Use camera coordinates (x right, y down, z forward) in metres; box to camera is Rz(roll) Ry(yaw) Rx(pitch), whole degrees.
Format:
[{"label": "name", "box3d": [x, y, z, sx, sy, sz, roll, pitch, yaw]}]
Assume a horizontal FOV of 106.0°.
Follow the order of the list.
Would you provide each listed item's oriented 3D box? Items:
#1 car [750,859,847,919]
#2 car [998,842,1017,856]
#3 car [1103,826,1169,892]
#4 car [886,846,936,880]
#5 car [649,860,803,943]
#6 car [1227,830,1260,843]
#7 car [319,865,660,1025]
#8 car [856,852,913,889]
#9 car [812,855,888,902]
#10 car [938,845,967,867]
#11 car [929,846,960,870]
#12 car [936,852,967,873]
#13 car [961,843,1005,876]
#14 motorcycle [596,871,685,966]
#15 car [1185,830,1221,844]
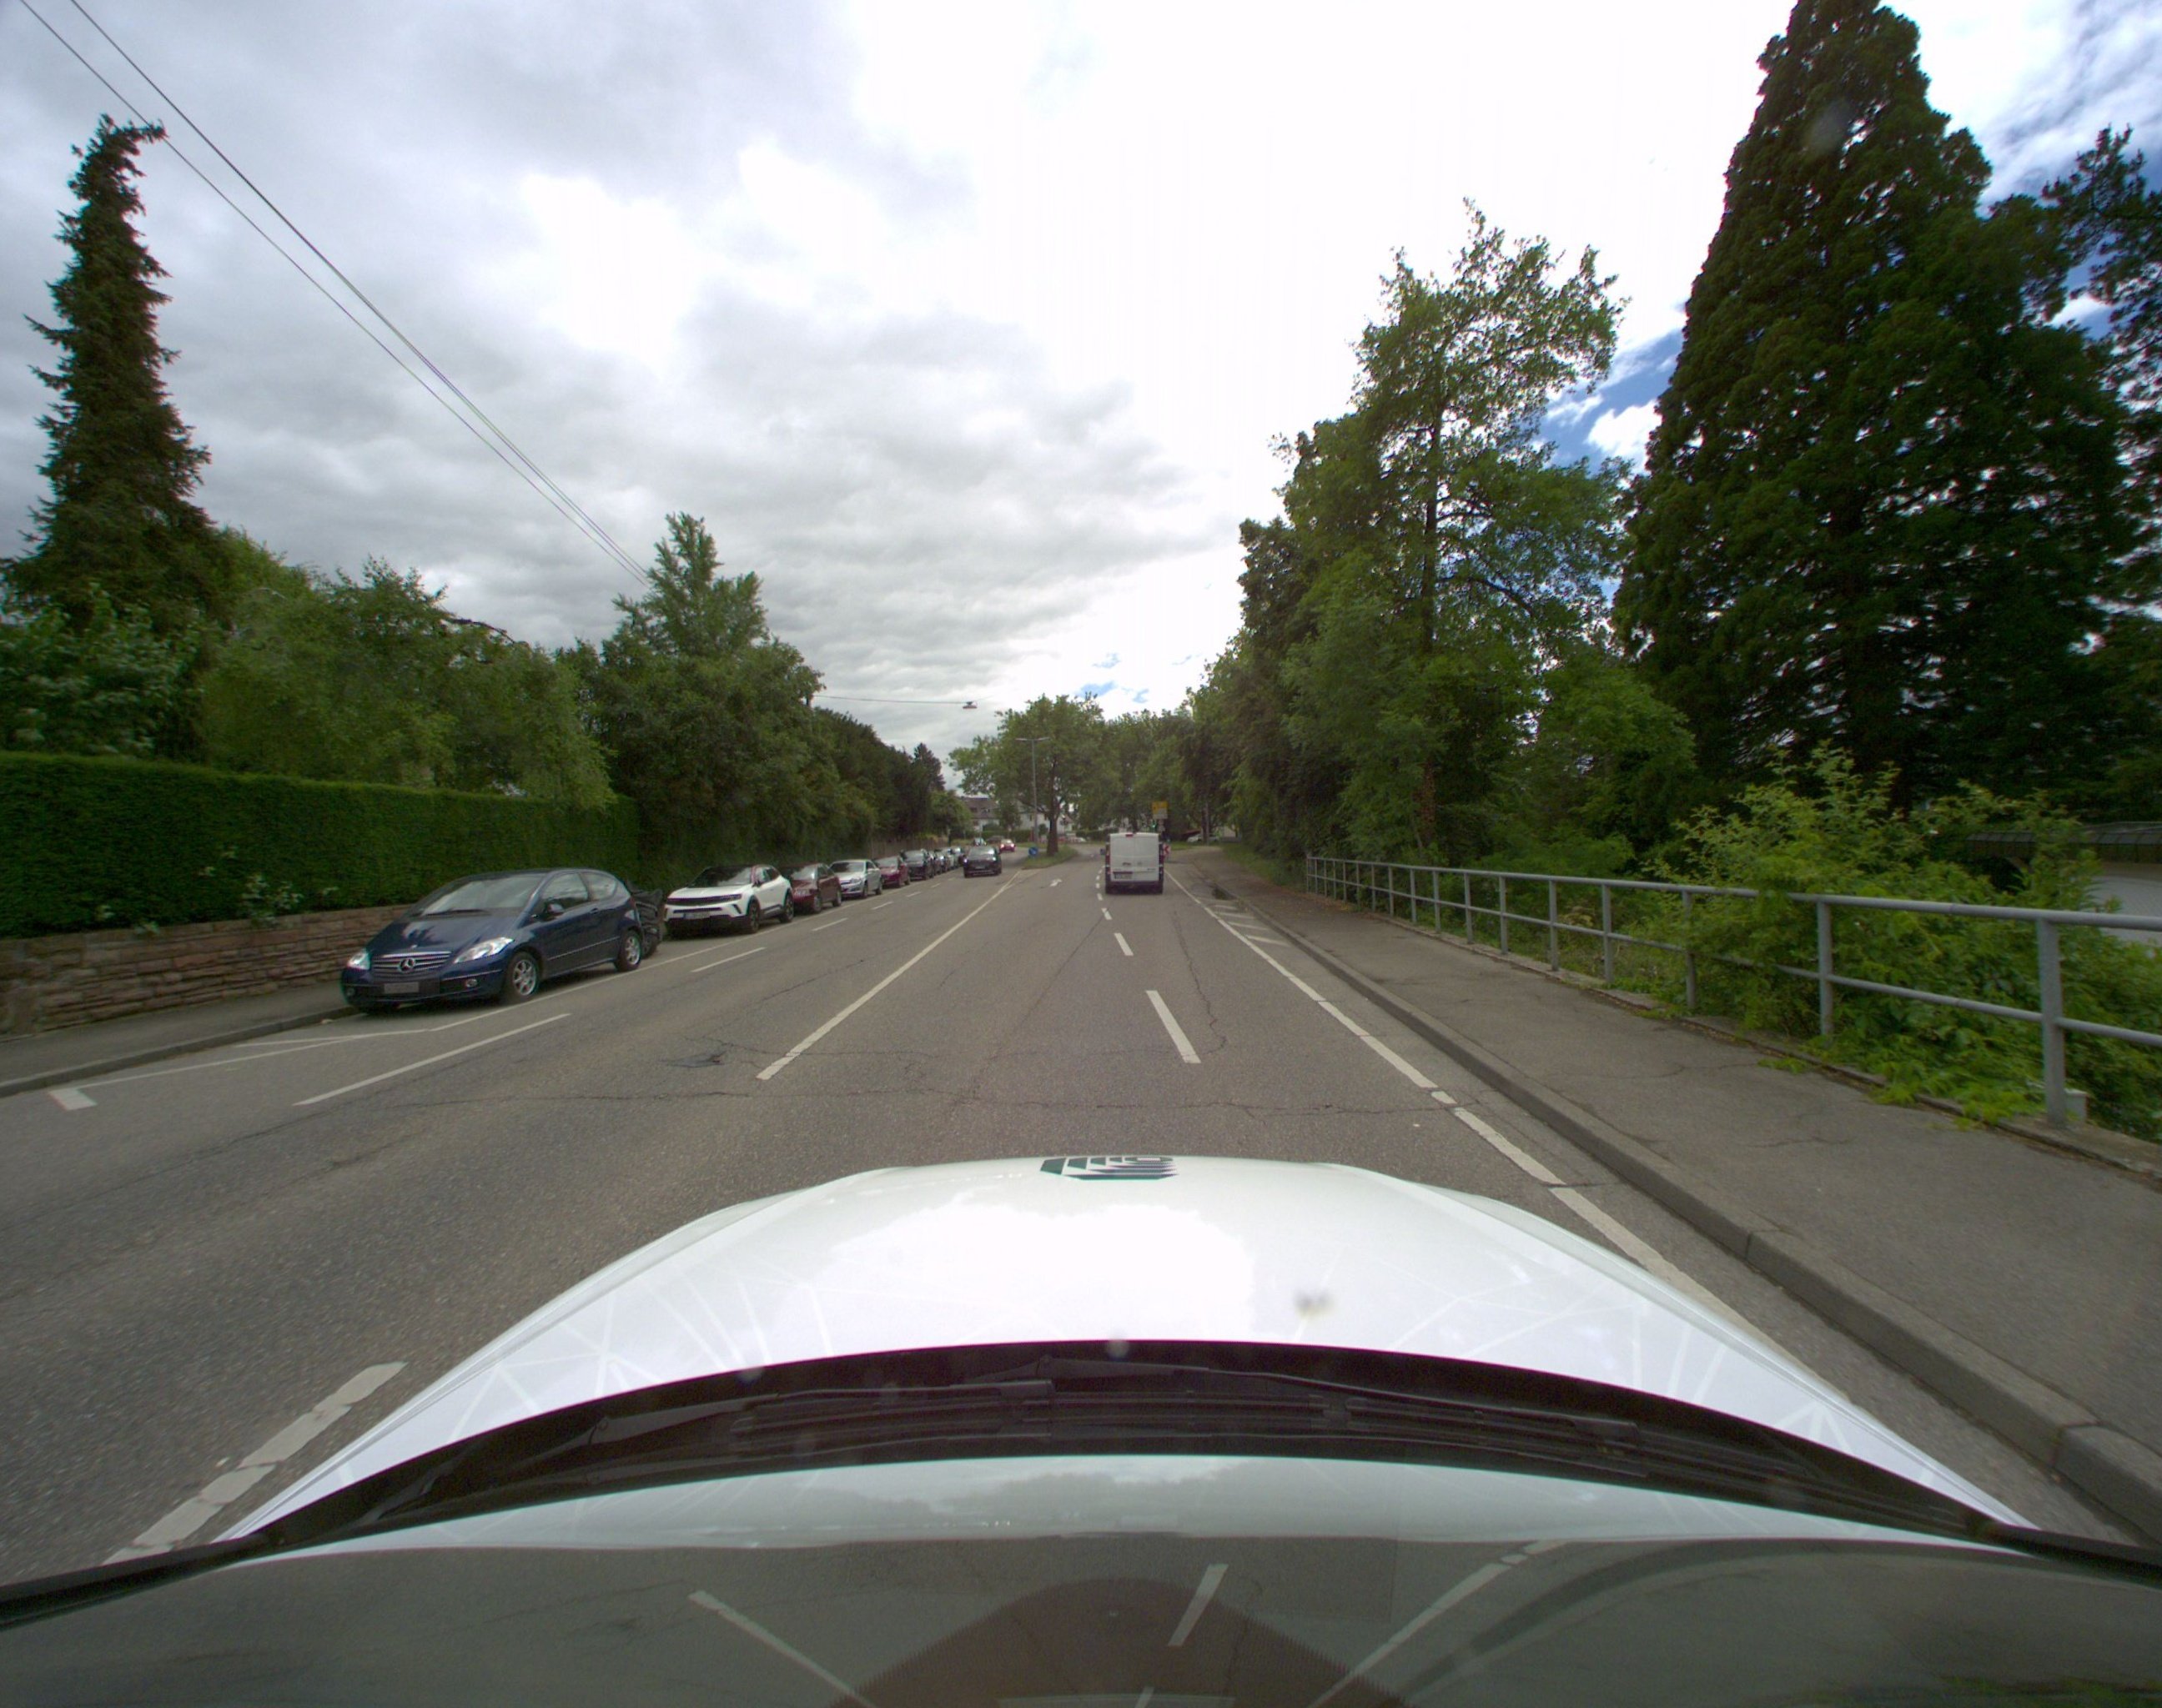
[{"label": "car", "box3d": [-8.251, 0.961, 24.124, 1.666, 1.478, 3.905, -3, 1, -4]}, {"label": "car", "box3d": [-9.094, -0.666, 100.915, 1.993, 1.587, 3.994, -3, 1, -3]}, {"label": "car", "box3d": [1.768, 0.133, 27.628, 1.999, 2.038, 5.011, 0, 0, 1]}, {"label": "car", "box3d": [-9.133, 0.448, 44.194, 1.990, 1.643, 4.460, -3, 1, -4]}, {"label": "car", "box3d": [-7.967, 0.981, 18.712, 1.886, 1.494, 4.021, -4, 1, -4]}, {"label": "car", "box3d": [23.725, -2.562, 118.793, 4.762, 1.769, 1.980, -3, 1, -32]}, {"label": "car", "box3d": [-7.433, 1.005, 10.812, 1.675, 1.556, 3.967, -4, 0, -3]}, {"label": "car", "box3d": [-8.901, 0.715, 37.223, 1.776, 1.438, 3.994, -3, 1, -4]}, {"label": "car", "box3d": [-8.521, 0.861, 30.435, 1.665, 1.488, 4.426, -4, 1, -3]}, {"label": "car", "box3d": [-10.332, 0.145, 65.907, 1.884, 1.625, 4.424, -2, 1, -5]}, {"label": "car", "box3d": [-10.104, 0.277, 60.573, 1.668, 1.592, 4.092, -4, 1, -3]}, {"label": "car", "box3d": [-8.818, 0.541, 55.649, 1.644, 1.328, 4.217, -2, 1, -3]}, {"label": "car", "box3d": [-5.363, 0.298, 44.892, 1.836, 1.647, 4.212, -3, 0, 0]}, {"label": "motorcycle", "box3d": [-7.651, 1.055, 14.279, 0.889, 1.355, 2.292, -5, 3, -19]}, {"label": "car", "box3d": [17.128, -2.341, 114.243, 4.762, 1.769, 1.980, -3, 1, -32]}]
